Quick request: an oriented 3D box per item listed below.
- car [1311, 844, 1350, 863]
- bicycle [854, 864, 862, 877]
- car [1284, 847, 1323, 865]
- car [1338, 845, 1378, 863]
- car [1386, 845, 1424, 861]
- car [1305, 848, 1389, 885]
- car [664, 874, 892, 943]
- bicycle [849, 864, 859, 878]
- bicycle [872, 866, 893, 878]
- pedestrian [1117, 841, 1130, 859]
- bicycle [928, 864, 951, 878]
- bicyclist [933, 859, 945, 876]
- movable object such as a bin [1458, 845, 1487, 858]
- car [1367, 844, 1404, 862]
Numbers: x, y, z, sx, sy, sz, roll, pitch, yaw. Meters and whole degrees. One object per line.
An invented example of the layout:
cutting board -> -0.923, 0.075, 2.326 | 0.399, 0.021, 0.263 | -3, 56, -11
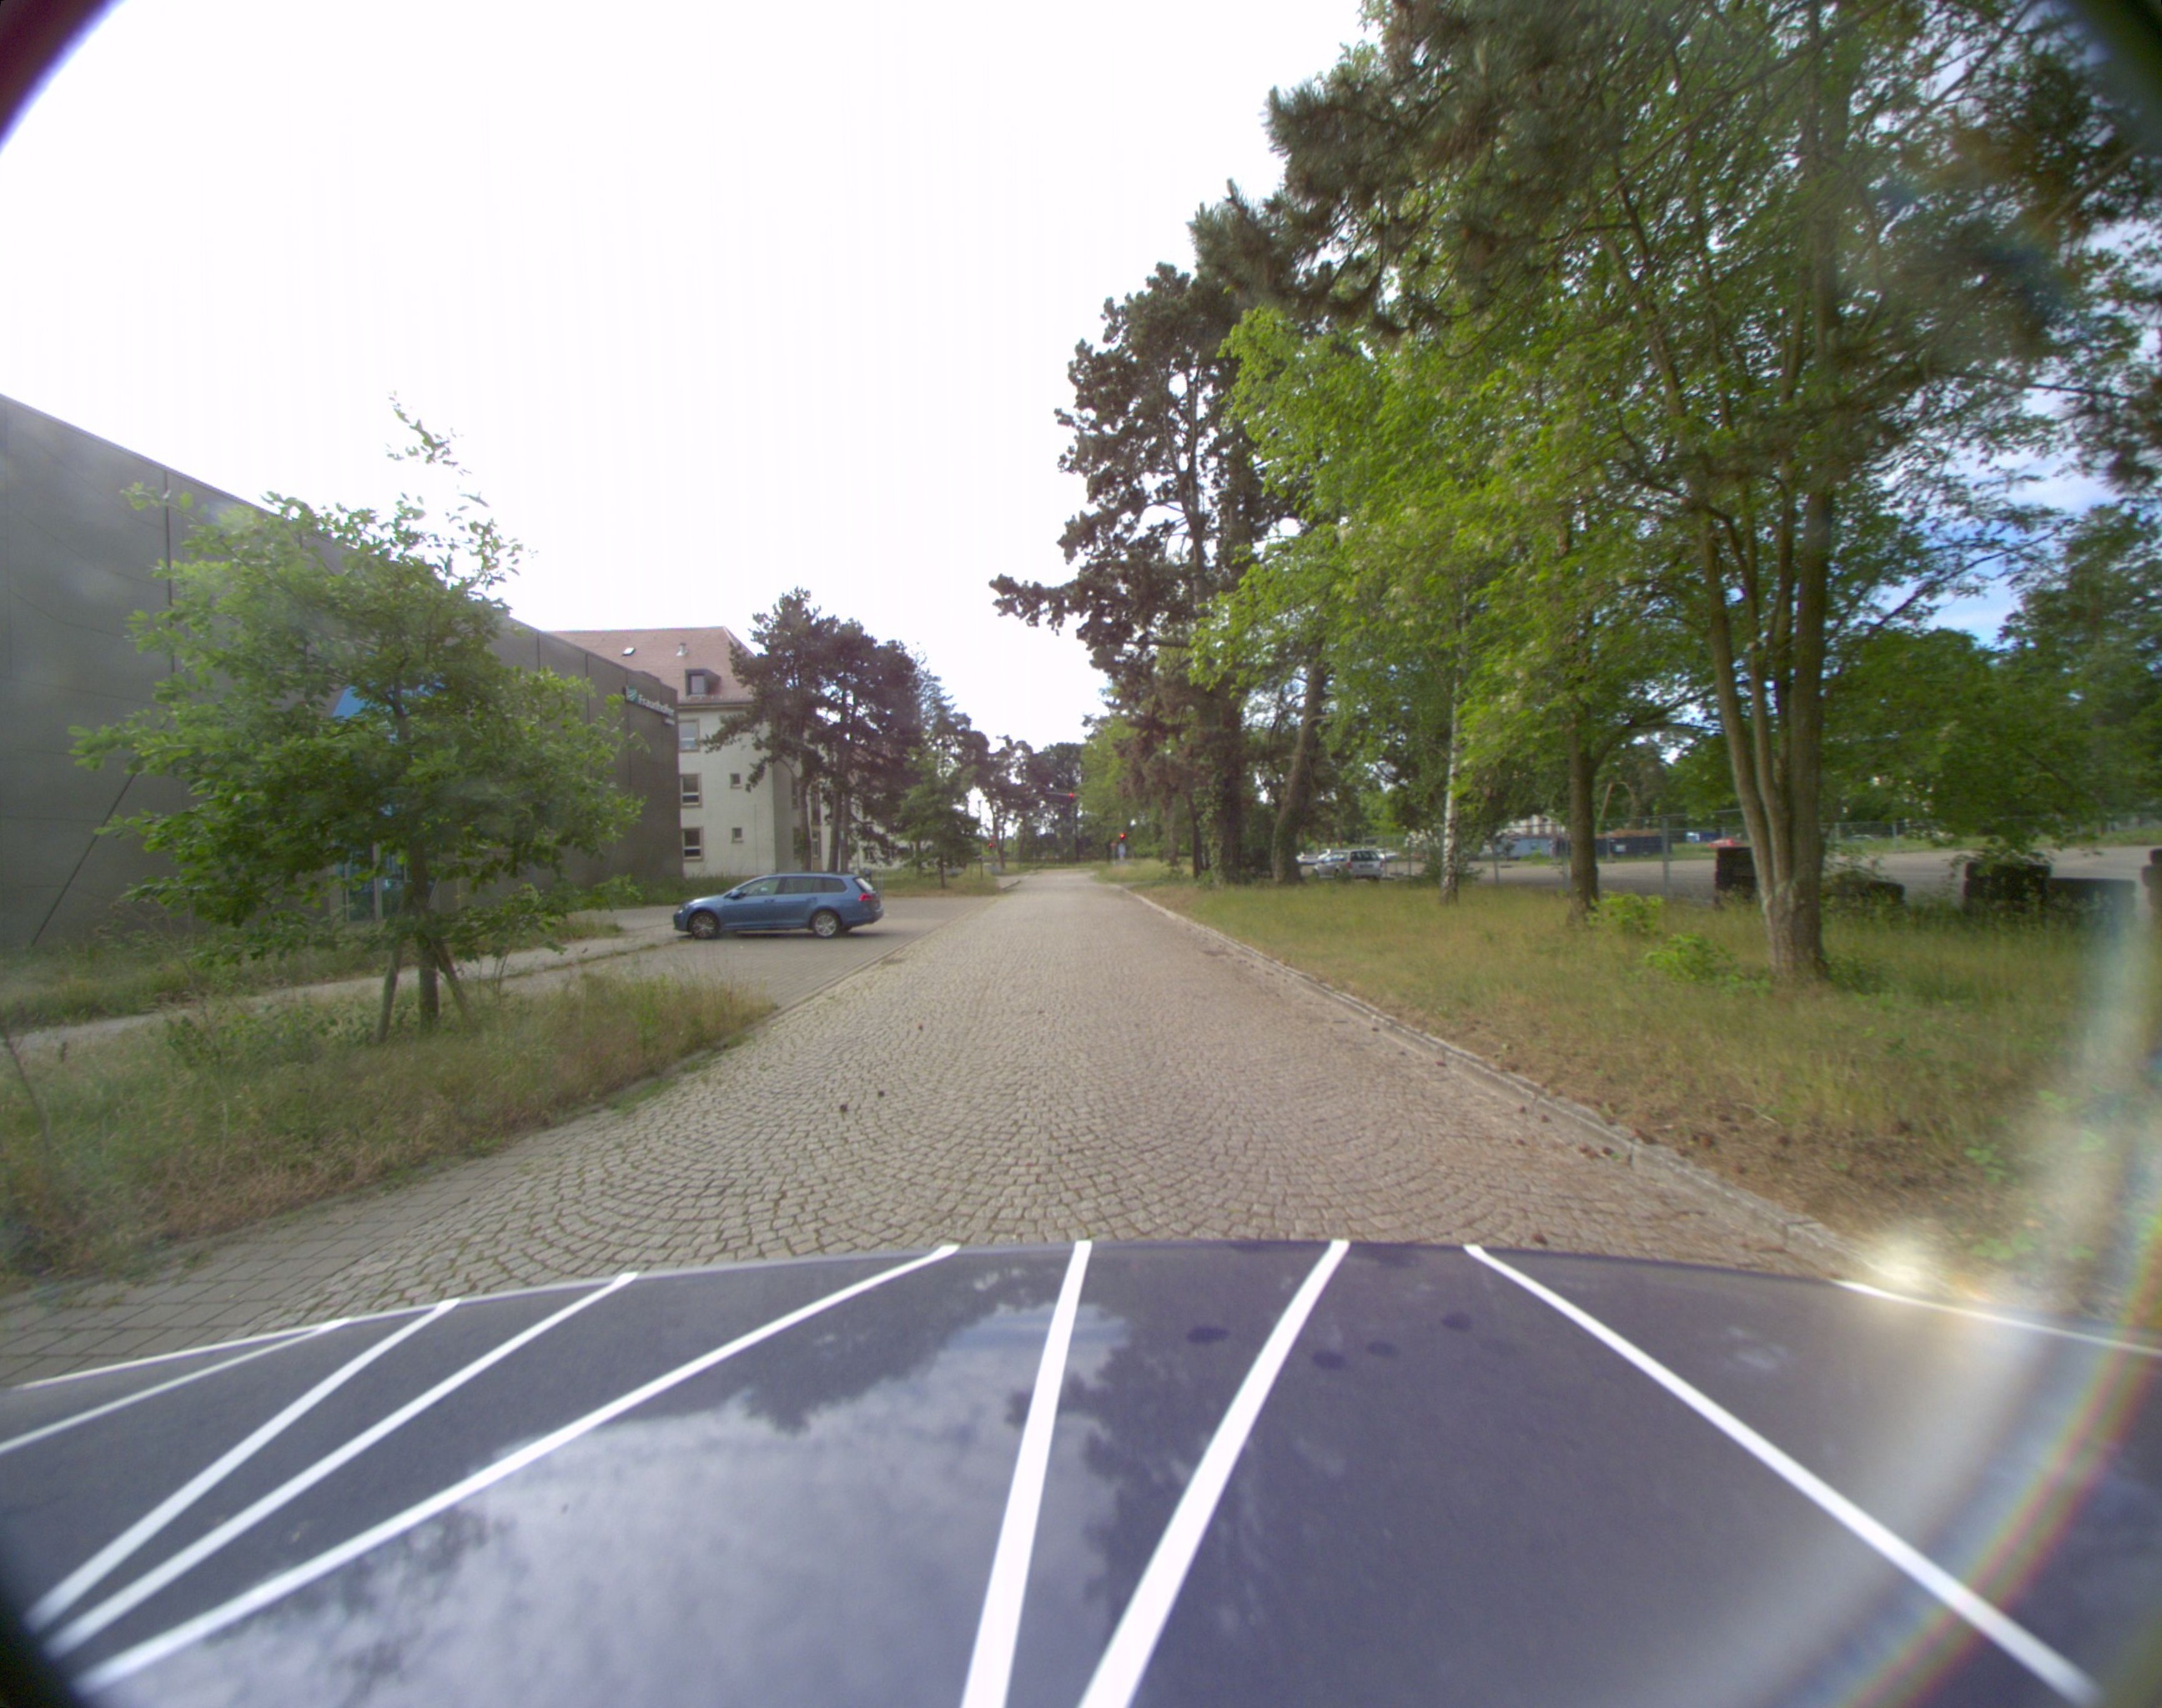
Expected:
car -> 23.159, 0.015, 70.647 | 1.840, 1.568, 4.584 | -2, -2, -4
bicycle -> -22.553, 1.663, 76.857 | 0.482, 1.324, 1.837 | -2, 0, -7
car -> 20.560, 0.207, 70.381 | 1.840, 1.441, 4.655 | -2, -2, -4
car -> 25.804, 0.029, 70.944 | 1.840, 1.460, 4.585 | -2, -2, -1
car -> 35.004, -0.099, 82.145 | 1.840, 1.549, 4.584 | -2, -2, -4
car -> 11.296, 0.499, 32.615 | 1.720, 1.430, 4.465 | -2, 0, -4
car -> -6.849, 1.214, 17.583 | 4.535, 1.435, 1.823 | 0, 0, -5
bicycle -> -22.985, 1.689, 76.854 | 0.572, 1.324, 1.837 | -2, 0, -7
bicycle -> -19.678, 1.749, 75.386 | 1.836, 1.079, 0.572 | -2, 2, 2
pedestrian -> 3.693, -0.352, 65.953 | 0.883, 1.509, 0.822 | -2, 0, 13
bicycle -> -14.054, 1.706, 75.476 | 2.165, 1.268, 0.963 | -2, 0, -20
bicyclist -> -14.105, 1.321, 75.449 | 0.918, 1.625, 0.963 | -2, 0, -20
movable object such as a bin -> 30.014, -0.165, 58.239 | 1.041, 0.927, 1.934 | -1, 0, -9
car -> 28.540, -0.099, 71.301 | 1.737, 1.512, 4.114 | -2, -2, -1
